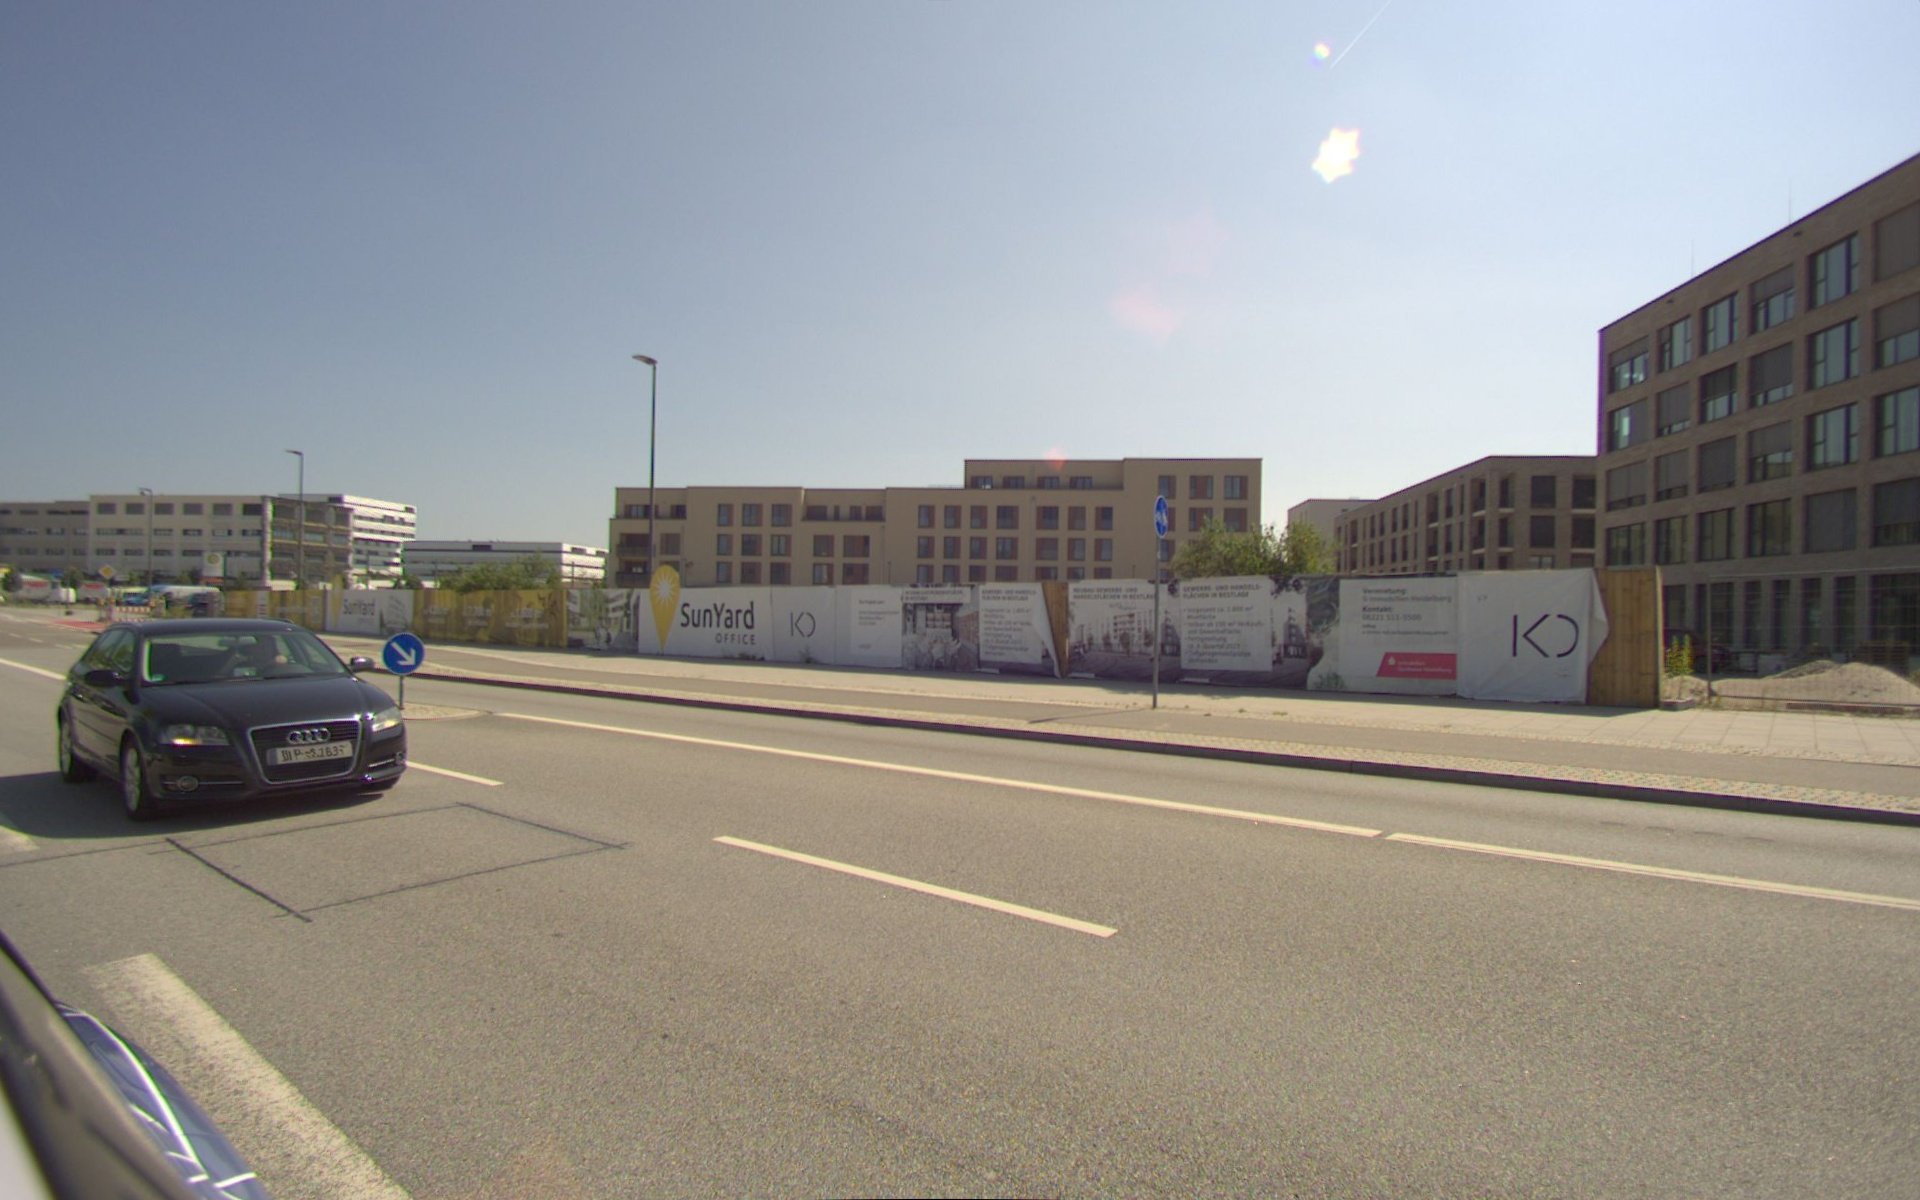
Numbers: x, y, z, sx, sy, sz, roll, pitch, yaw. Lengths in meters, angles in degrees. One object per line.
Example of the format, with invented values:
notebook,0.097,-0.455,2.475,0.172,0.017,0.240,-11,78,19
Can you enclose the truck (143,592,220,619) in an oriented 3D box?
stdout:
truck,-67.138,0.415,87.284,1.998,2.245,4.943,0,1,39

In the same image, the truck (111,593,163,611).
truck,-114.941,0.286,141.383,1.996,2.494,5.270,0,1,36

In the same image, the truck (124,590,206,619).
truck,-72.504,0.376,92.430,1.996,2.494,5.567,0,1,36

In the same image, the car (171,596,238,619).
car,-60.308,0.593,80.852,1.888,1.731,3.885,0,1,35

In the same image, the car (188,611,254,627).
car,-48.333,1.232,66.236,1.293,0.960,3.315,0,1,43

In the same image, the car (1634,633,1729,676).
car,31.999,2.389,45.002,1.814,1.666,3.772,0,0,7

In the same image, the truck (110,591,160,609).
truck,-120.271,-0.003,147.550,1.998,2.494,5.346,0,1,38

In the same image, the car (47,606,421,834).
car,-6.189,0.778,8.450,3.998,1.422,1.688,0,1,41
